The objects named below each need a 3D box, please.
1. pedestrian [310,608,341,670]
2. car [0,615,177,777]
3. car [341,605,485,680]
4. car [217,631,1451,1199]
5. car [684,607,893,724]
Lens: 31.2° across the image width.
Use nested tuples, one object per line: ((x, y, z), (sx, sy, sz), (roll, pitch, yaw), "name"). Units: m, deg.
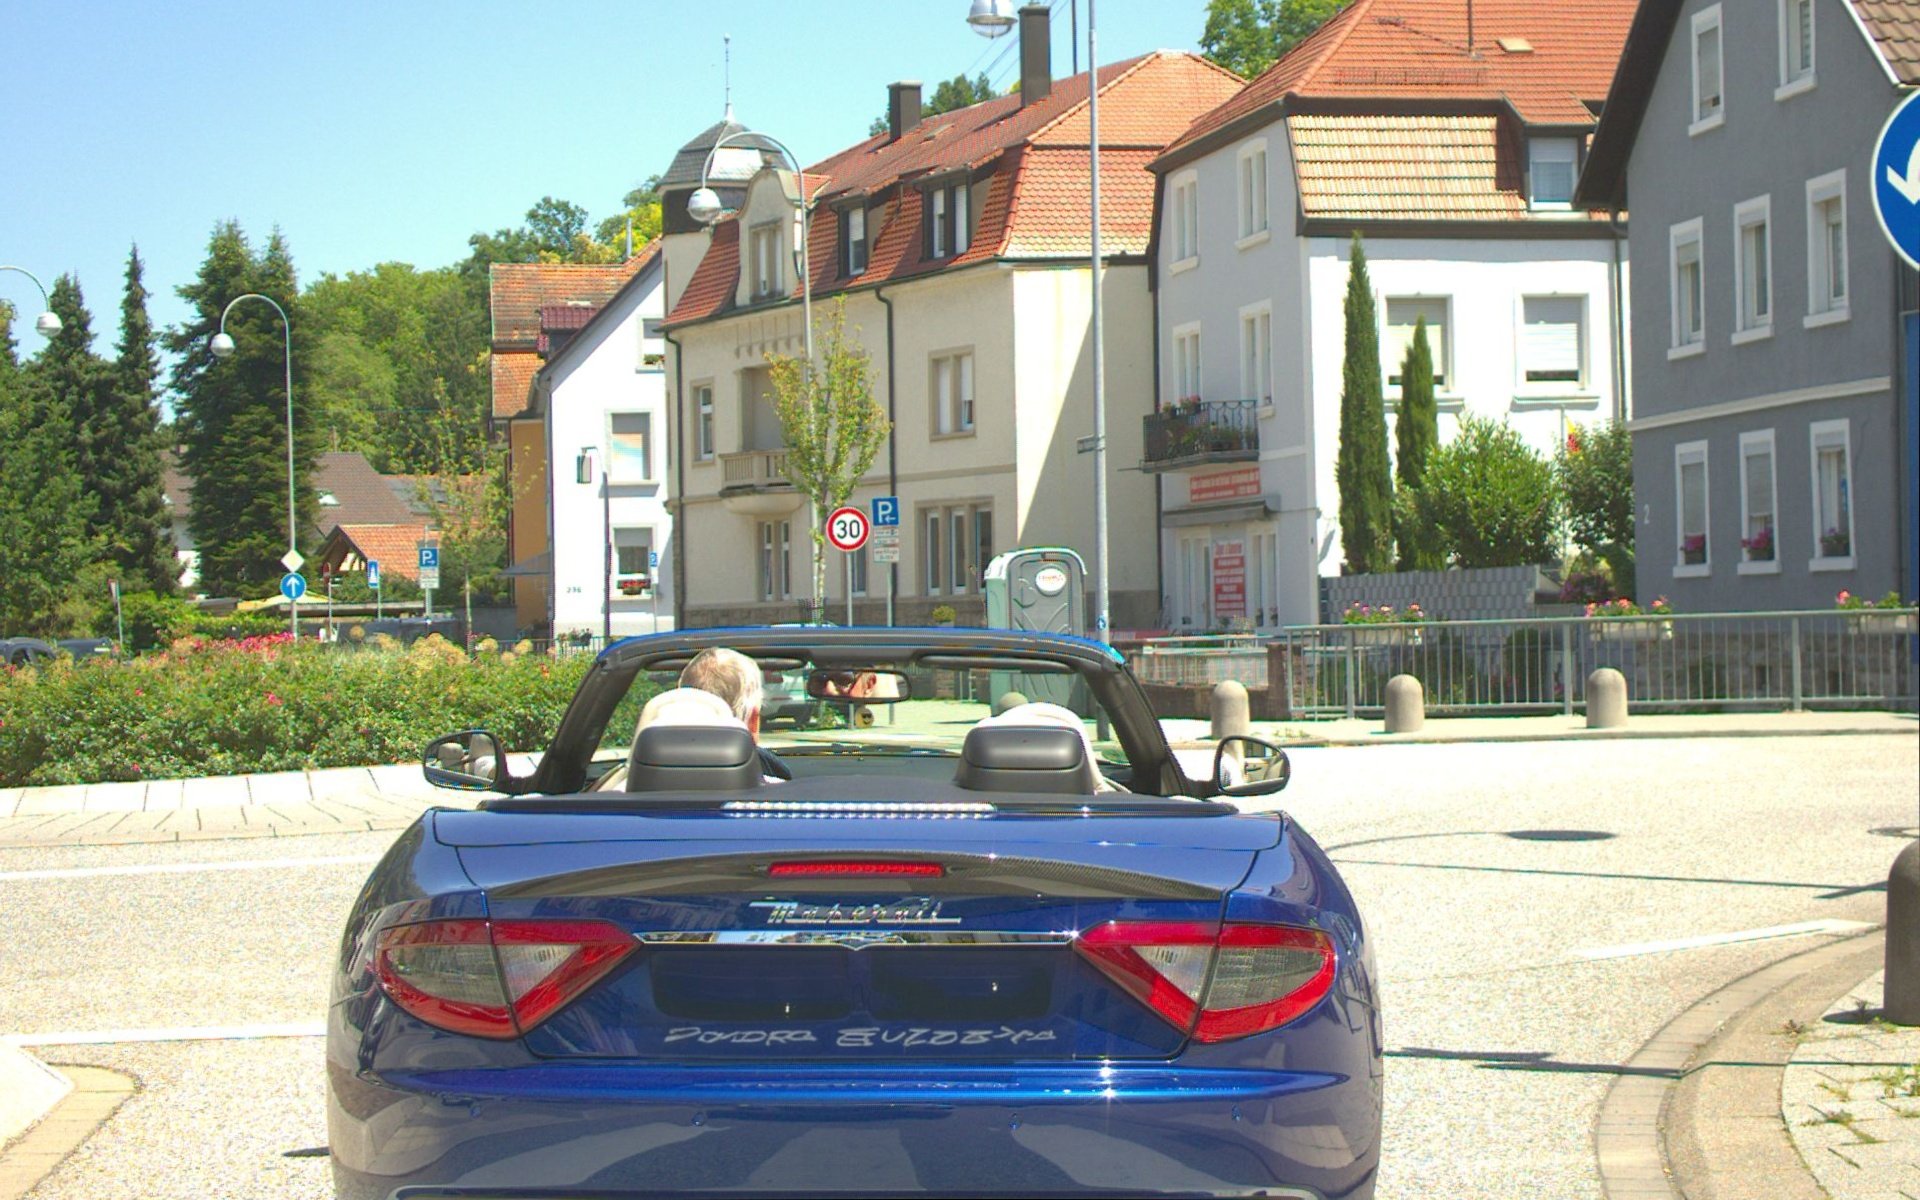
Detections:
((-16.654, 1.021, 90.220), (0.611, 1.580, 0.587), (-2, 0, -27), "pedestrian")
((-10.174, 1.005, 36.989), (1.799, 1.637, 4.057), (-2, -1, 13), "car")
((-12.527, 0.984, 78.518), (1.850, 1.583, 4.000), (-3, 0, -31), "car")
((-0.167, 0.766, 7.468), (1.910, 1.356, 4.285), (0, 0, 1), "car")
((-2.615, 0.997, 51.356), (1.918, 1.607, 4.148), (-2, -1, -20), "car")
